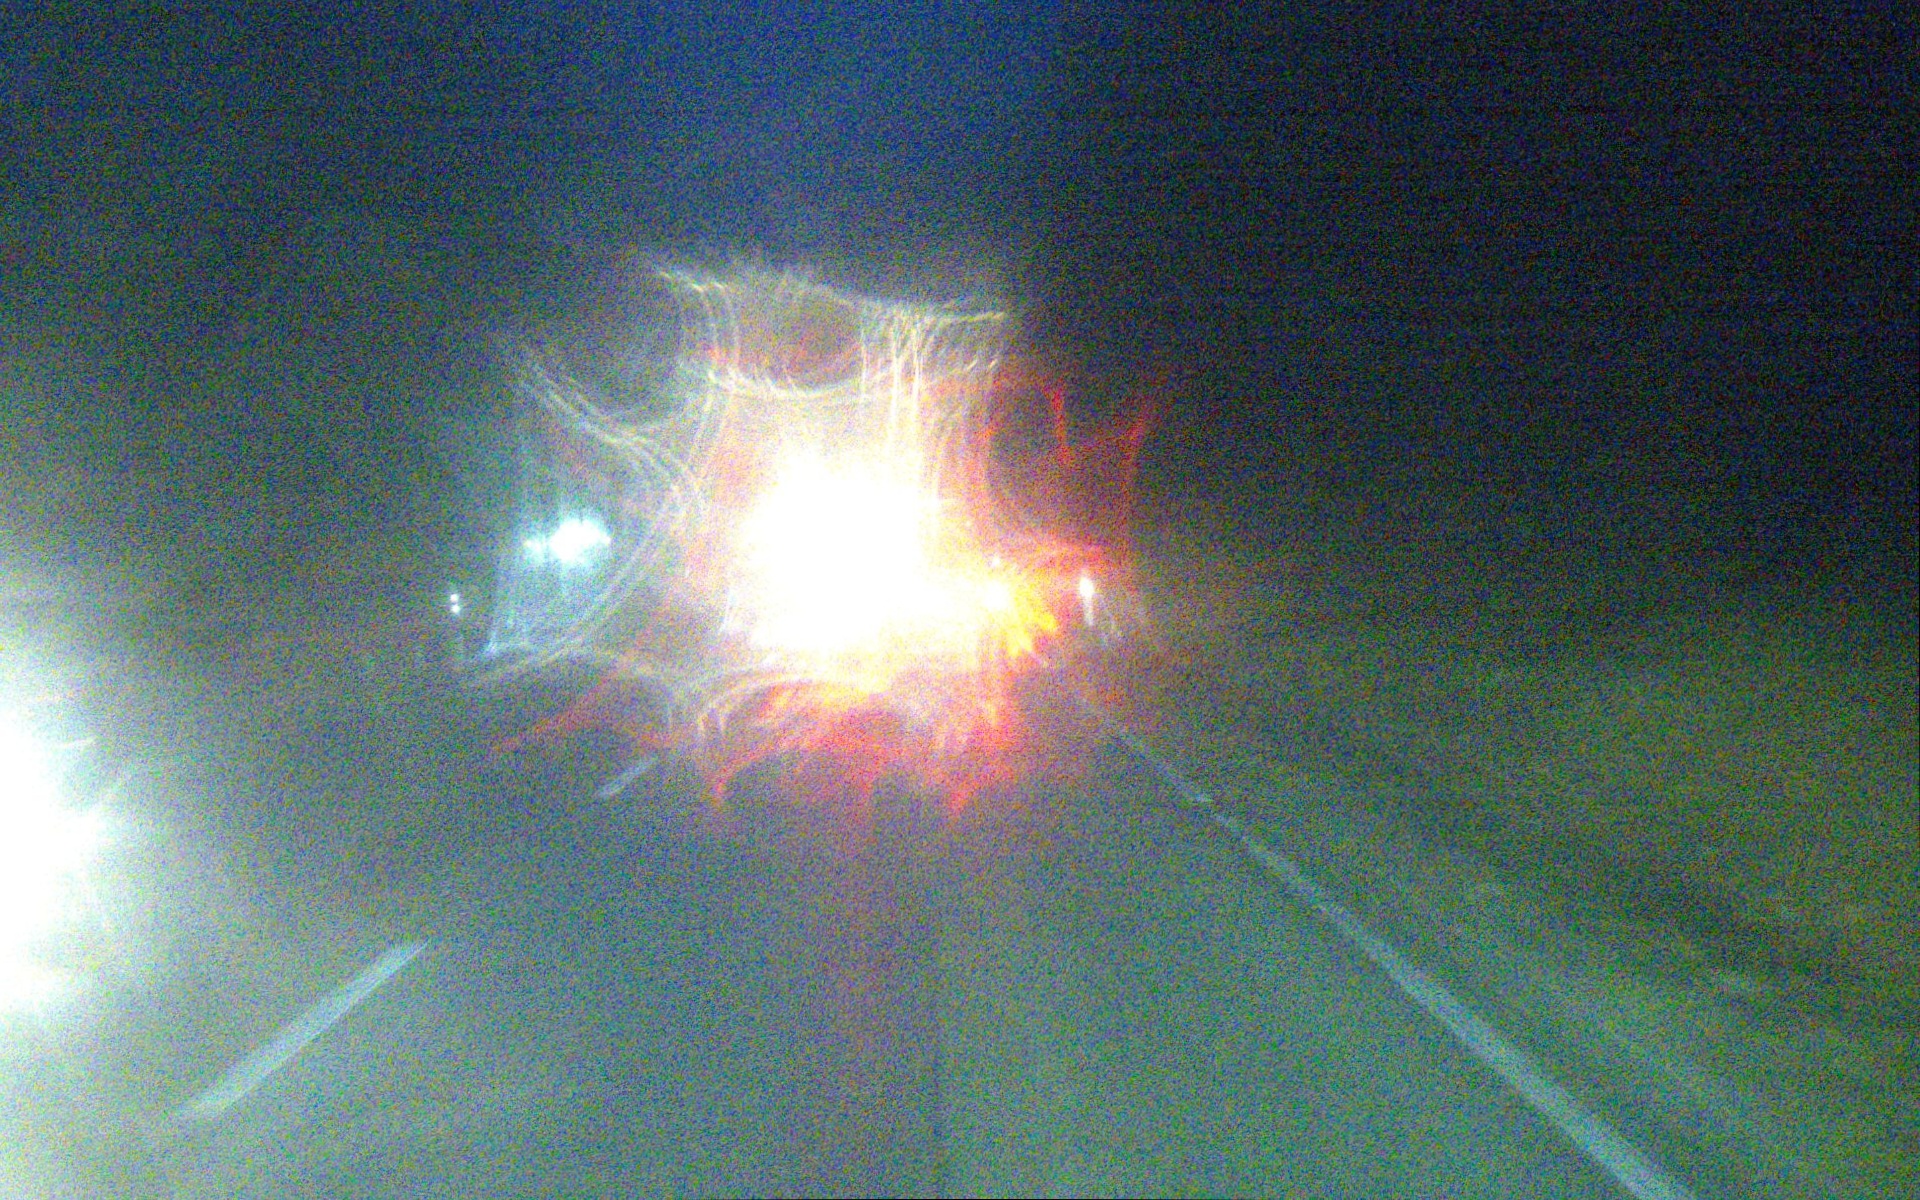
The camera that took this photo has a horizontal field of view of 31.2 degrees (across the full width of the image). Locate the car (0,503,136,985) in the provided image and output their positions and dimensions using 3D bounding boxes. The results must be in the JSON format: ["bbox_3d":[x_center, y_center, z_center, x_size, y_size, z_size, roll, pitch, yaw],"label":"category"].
[{"bbox_3d":[-4.054,0.482,10.997,1.800,1.574,4.458,1,2,0],"label":"car"}]

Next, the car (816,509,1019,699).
[{"bbox_3d":[-0.524,-0.006,37.825,1.993,1.800,3.918,-3,3,-3],"label":"car"}]
